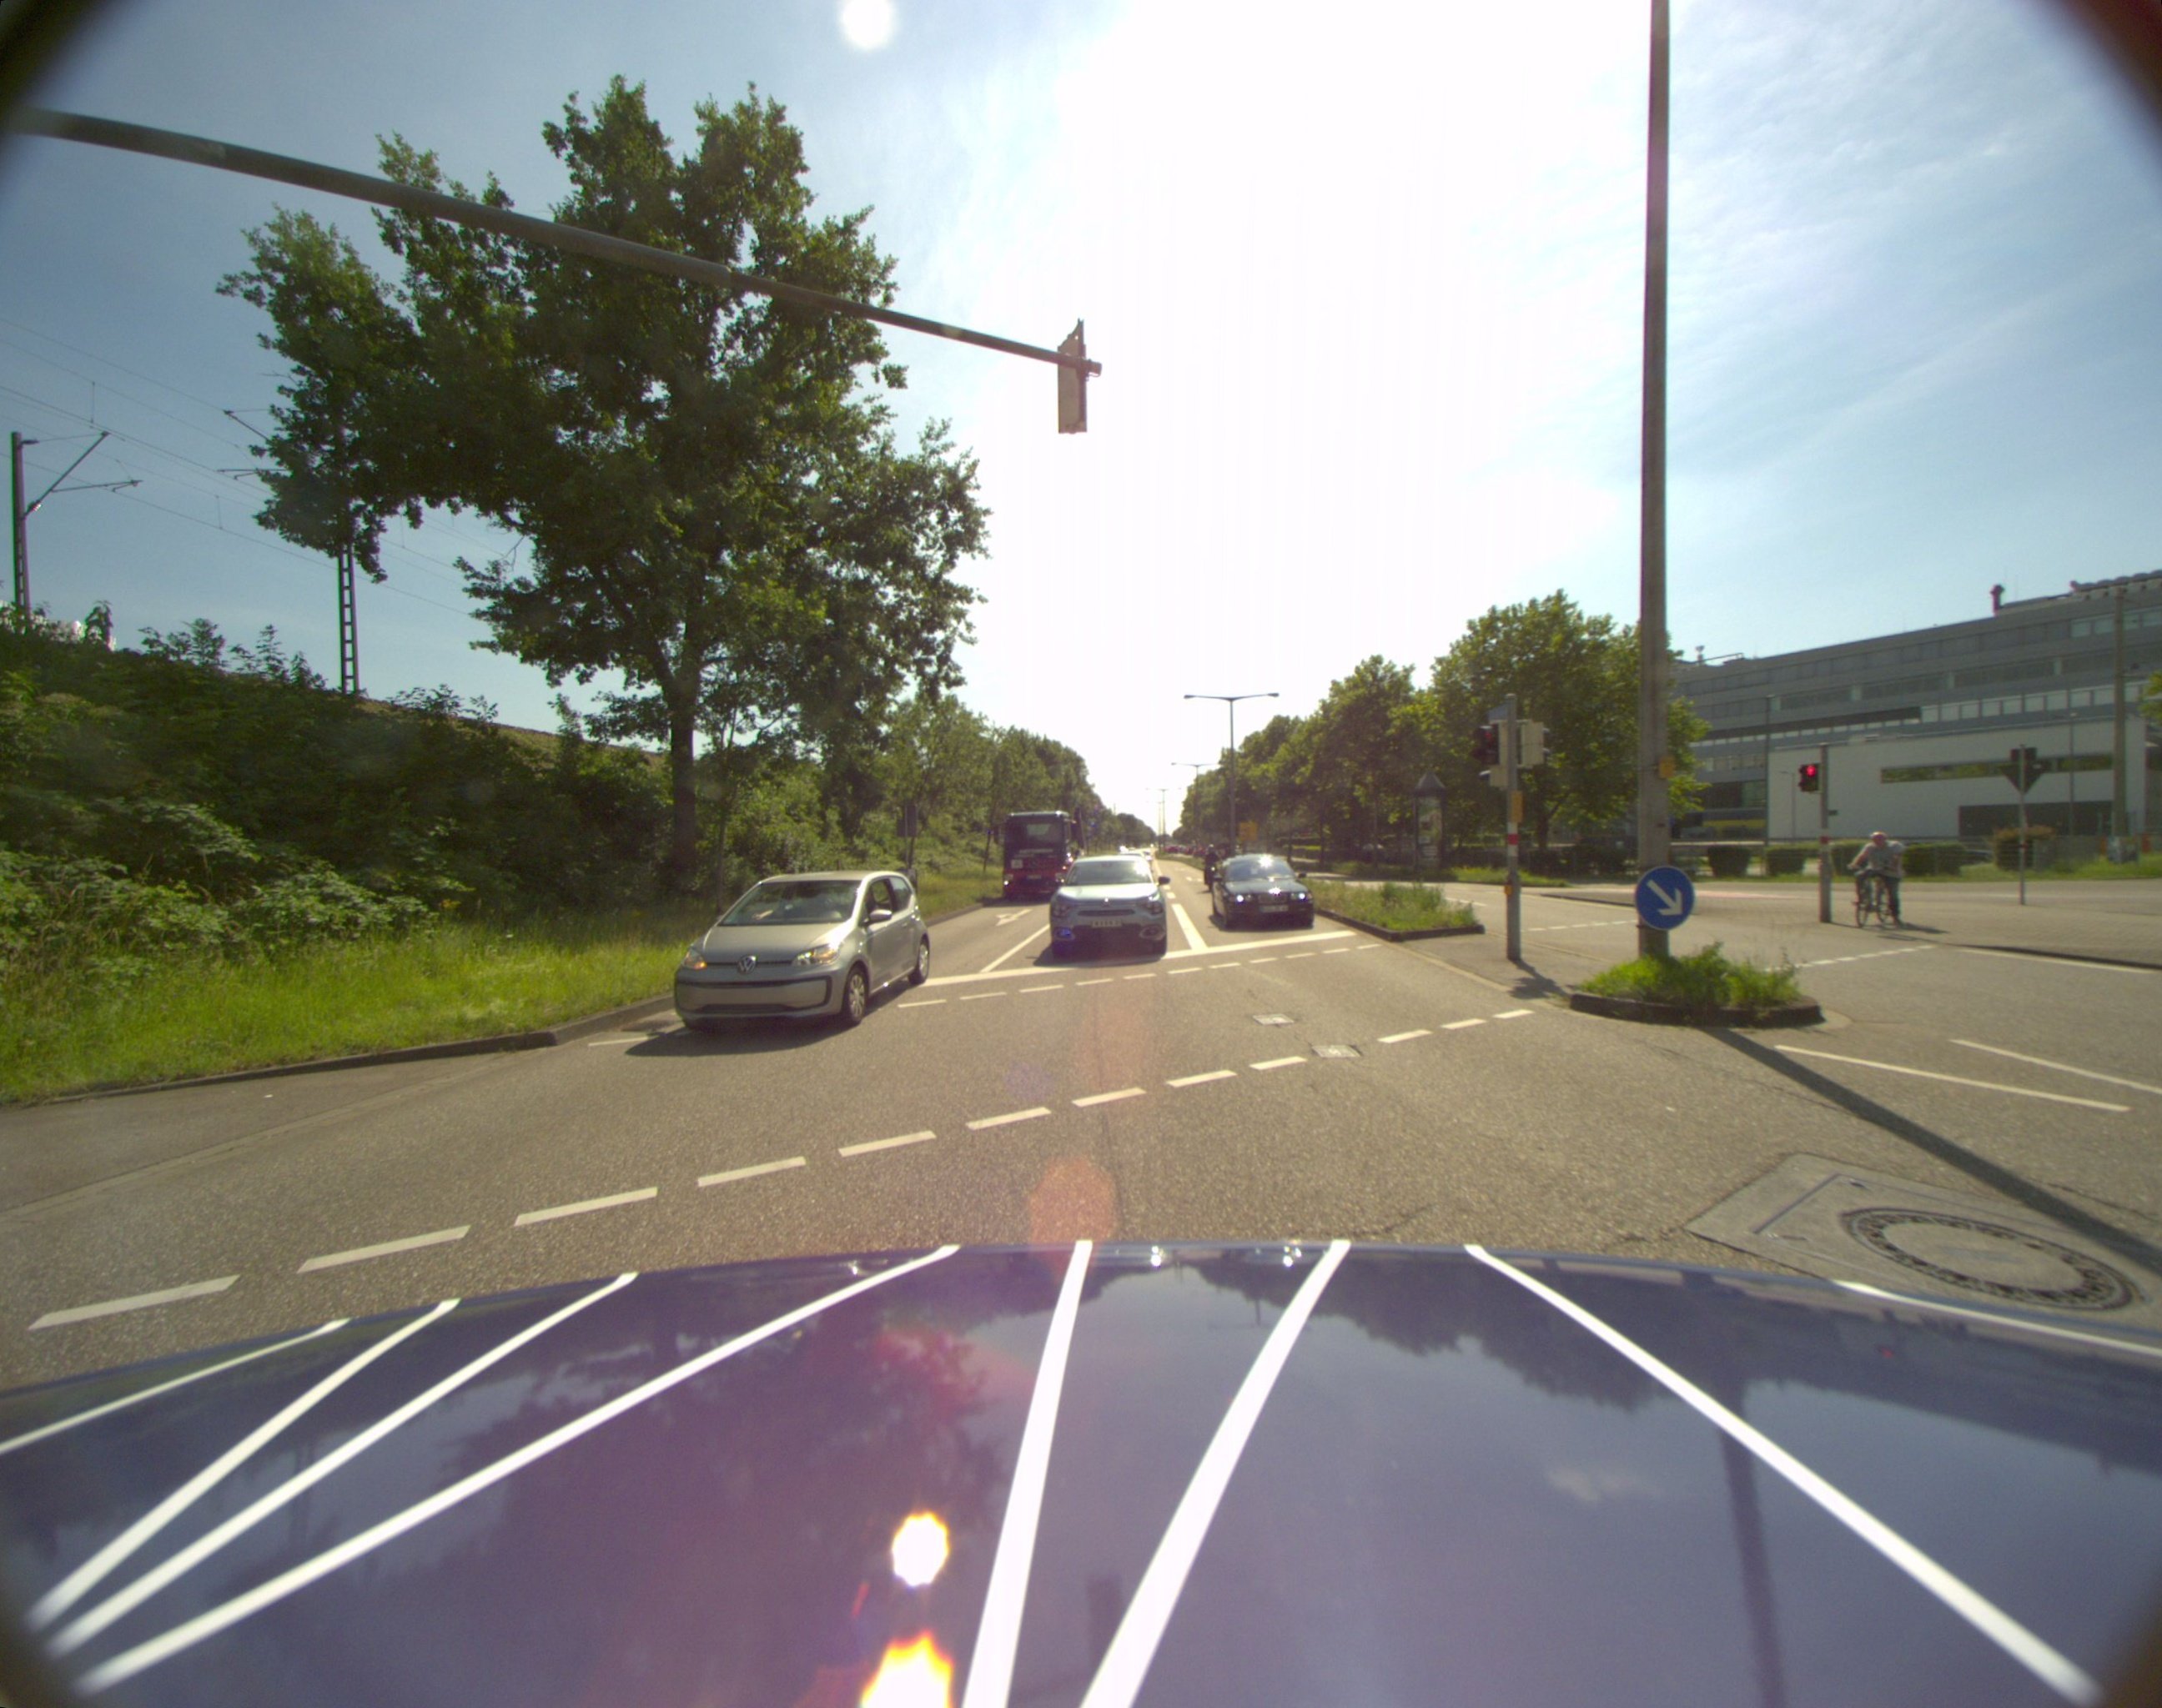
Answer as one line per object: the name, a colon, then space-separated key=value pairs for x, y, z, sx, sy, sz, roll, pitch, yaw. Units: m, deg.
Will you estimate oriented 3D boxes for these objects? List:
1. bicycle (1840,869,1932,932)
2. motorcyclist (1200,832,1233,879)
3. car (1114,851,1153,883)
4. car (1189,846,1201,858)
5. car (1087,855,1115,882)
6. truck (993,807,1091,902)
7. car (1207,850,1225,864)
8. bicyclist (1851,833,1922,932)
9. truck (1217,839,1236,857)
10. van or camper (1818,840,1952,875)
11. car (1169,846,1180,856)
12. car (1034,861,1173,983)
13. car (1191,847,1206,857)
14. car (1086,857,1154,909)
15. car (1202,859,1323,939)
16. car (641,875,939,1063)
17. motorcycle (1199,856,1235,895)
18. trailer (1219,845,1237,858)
bicycle: x=15.092 y=0.841 z=14.234 sx=2.168 sy=1.058 sz=0.524 roll=-2 pitch=1 yaw=-25
motorcyclist: x=5.002 y=0.067 z=28.076 sx=1.066 sy=1.689 sz=1.042 roll=-1 pitch=1 yaw=4
car: x=2.797 y=0.655 z=39.698 sx=1.825 sy=1.521 sz=4.549 roll=-1 pitch=0 yaw=6
car: x=21.109 y=-0.379 z=140.846 sx=1.998 sy=2.002 sz=4.001 roll=-1 pitch=0 yaw=5
car: x=1.641 y=1.094 z=60.390 sx=1.998 sy=2.002 sz=4.001 roll=-1 pitch=0 yaw=4
truck: x=-1.291 y=-0.002 z=29.989 sx=2.775 sy=3.248 sz=7.485 roll=-1 pitch=0 yaw=5
car: x=15.211 y=0.327 z=85.688 sx=1.653 sy=1.505 sz=3.737 roll=-1 pitch=0 yaw=4
bicyclist: x=15.079 y=0.513 z=14.237 sx=0.769 sy=1.778 sz=0.704 roll=-2 pitch=1 yaw=-25
truck: x=20.254 y=-0.851 z=106.098 sx=2.143 sy=2.461 sz=7.132 roll=-1 pitch=1 yaw=7
van or camper: x=41.751 y=0.184 z=39.574 sx=2.003 sy=1.682 sz=4.501 roll=-2 pitch=1 yaw=-33
car: x=18.709 y=-0.565 z=151.657 sx=1.998 sy=2.002 sz=4.001 roll=-1 pitch=0 yaw=5
car: x=0.534 y=0.937 z=12.483 sx=1.825 sy=1.521 sz=4.753 roll=-1 pitch=0 yaw=6
car: x=18.288 y=-0.342 z=118.451 sx=1.852 sy=1.426 sz=3.767 roll=-1 pitch=1 yaw=4
car: x=1.333 y=0.876 z=24.915 sx=1.998 sy=1.492 sz=4.001 roll=-1 pitch=0 yaw=4
car: x=3.649 y=0.836 z=15.973 sx=1.730 sy=1.354 sz=4.068 roll=-3 pitch=0 yaw=3
car: x=-2.805 y=1.030 z=8.260 sx=1.704 sy=1.429 sz=3.678 roll=-1 pitch=1 yaw=2
motorcycle: x=4.984 y=0.768 z=28.060 sx=1.051 sy=1.343 sz=2.332 roll=-1 pitch=0 yaw=4
trailer: x=19.443 y=-0.336 z=100.572 sx=2.066 sy=1.706 sz=3.992 roll=-1 pitch=1 yaw=7
